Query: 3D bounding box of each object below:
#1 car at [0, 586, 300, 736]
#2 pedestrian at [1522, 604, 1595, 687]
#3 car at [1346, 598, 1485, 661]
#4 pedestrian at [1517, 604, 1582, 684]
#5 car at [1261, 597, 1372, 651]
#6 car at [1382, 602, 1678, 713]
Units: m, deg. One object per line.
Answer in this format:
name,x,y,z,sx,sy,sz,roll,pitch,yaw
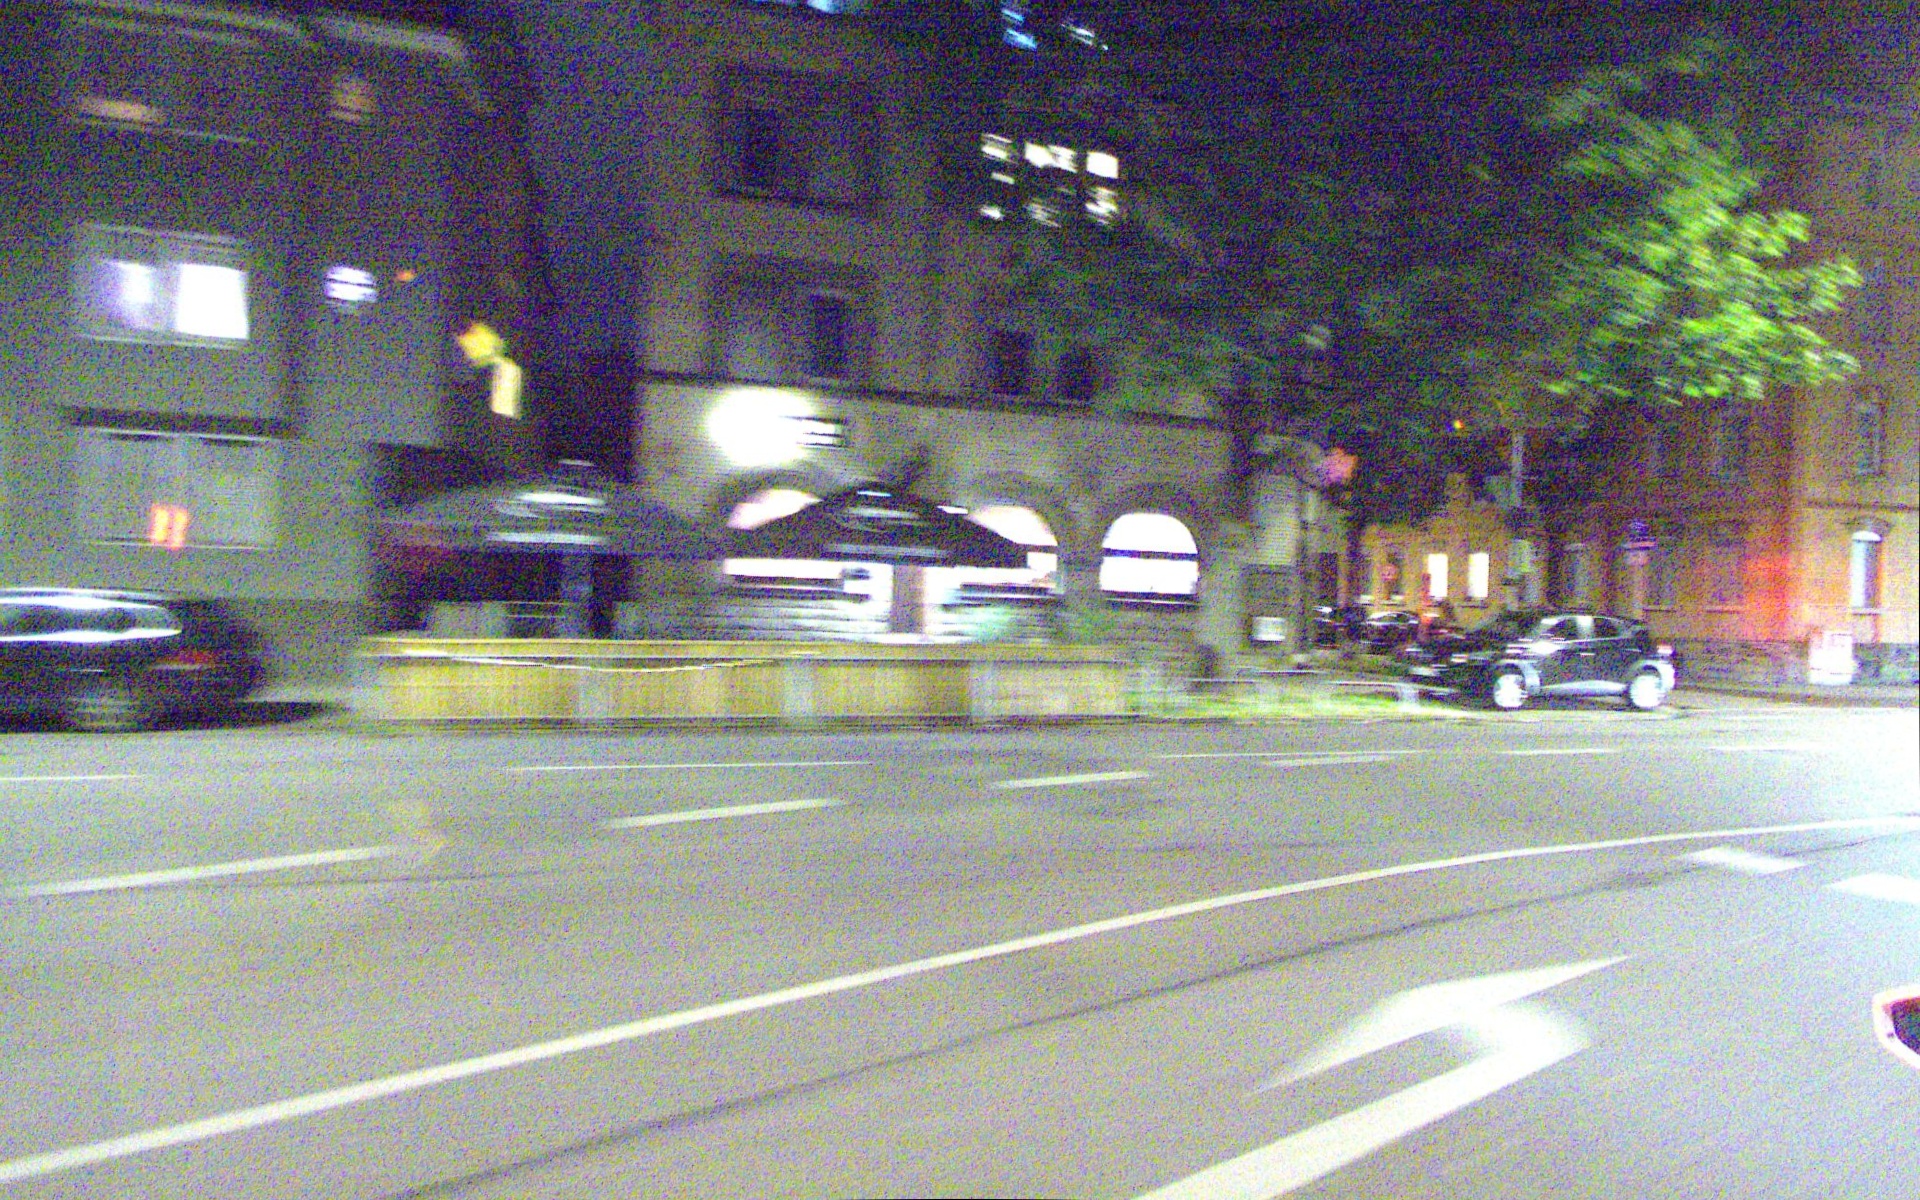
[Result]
car,-10.117,0.619,11.050,4.367,1.453,1.862,1,2,-13
pedestrian,12.696,0.955,21.334,1.102,1.713,0.711,1,0,-3
car,14.160,0.863,31.496,1.869,1.799,3.988,1,0,-14
pedestrian,13.059,0.965,22.266,0.978,1.713,0.711,1,0,-3
car,12.870,0.819,36.513,1.869,1.799,3.988,1,0,-14
car,9.334,0.919,16.599,3.953,1.618,1.888,1,2,-12
